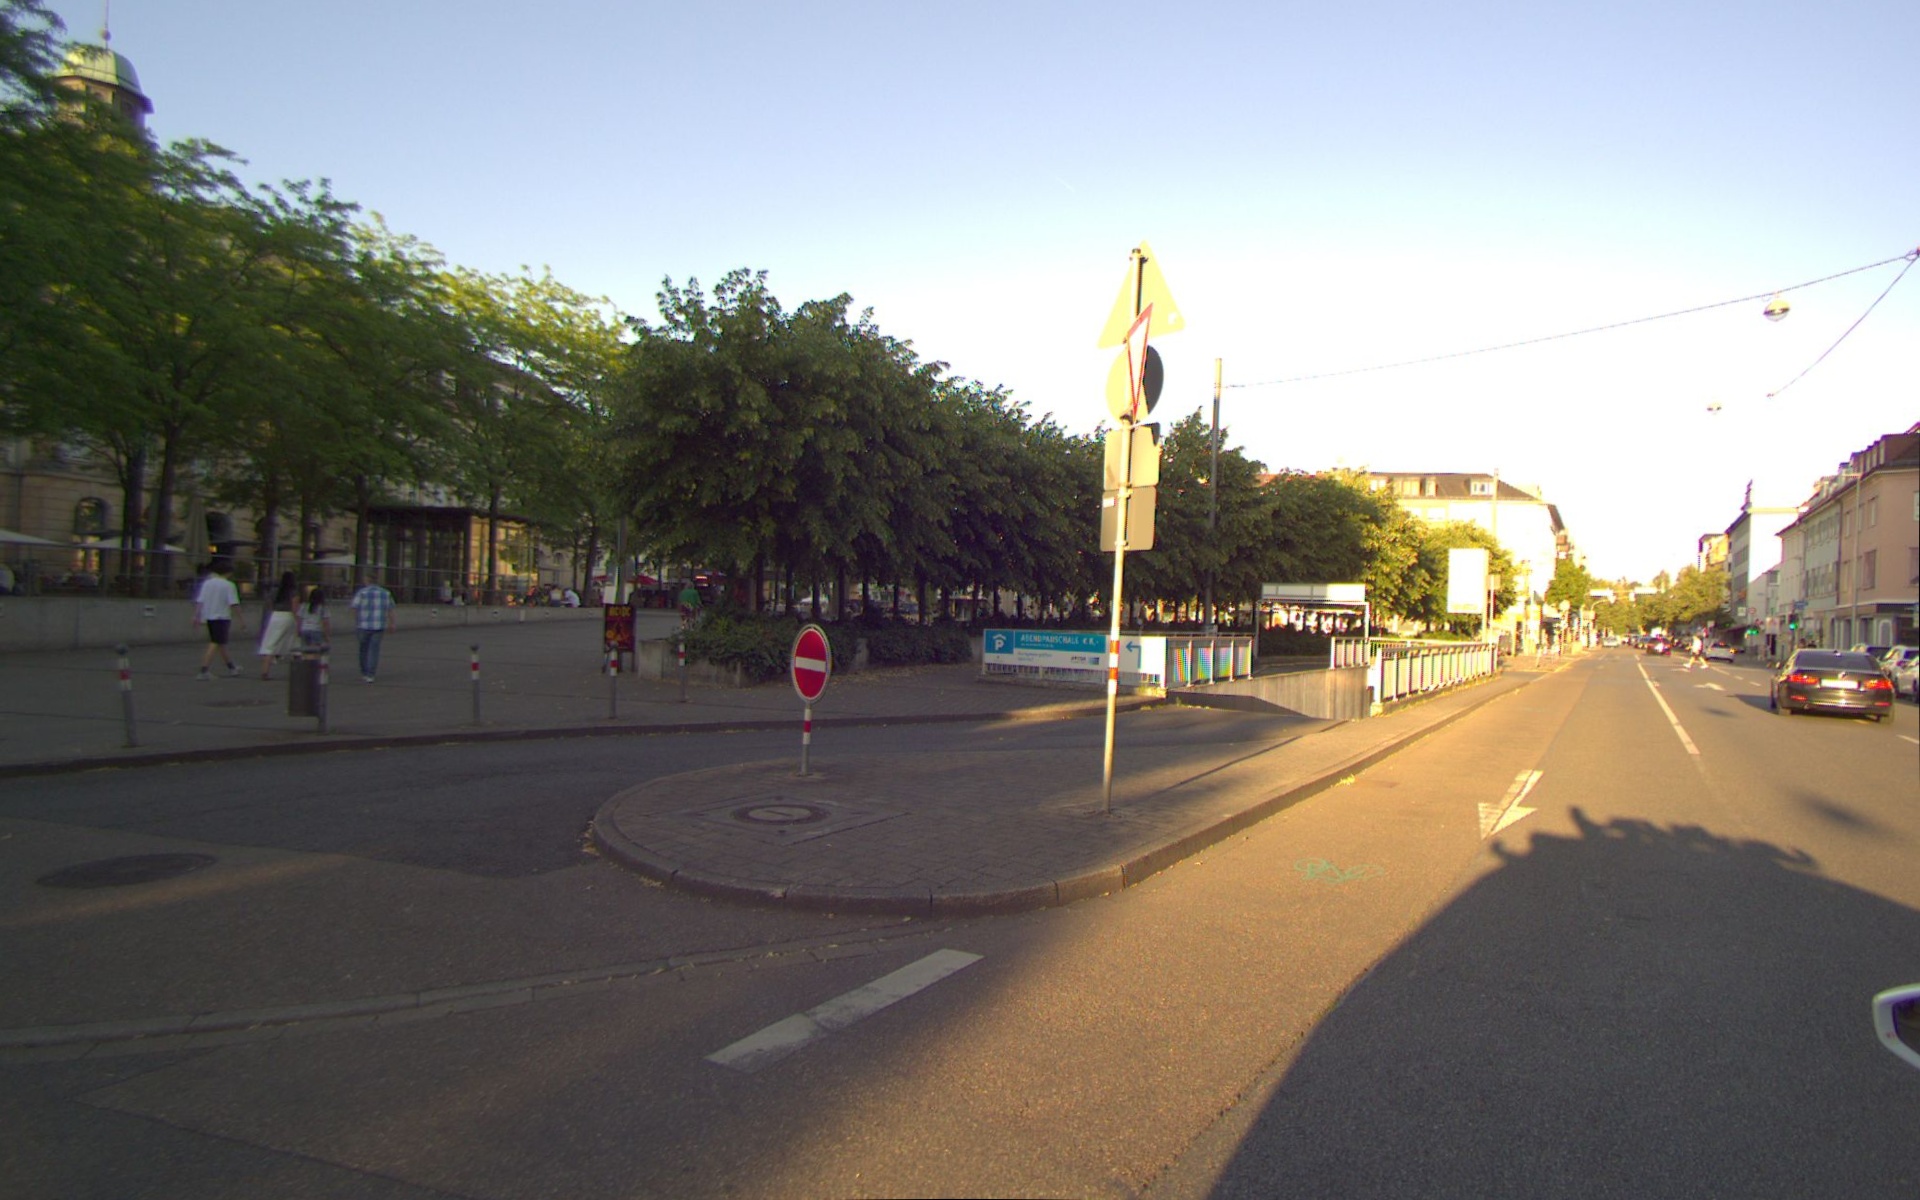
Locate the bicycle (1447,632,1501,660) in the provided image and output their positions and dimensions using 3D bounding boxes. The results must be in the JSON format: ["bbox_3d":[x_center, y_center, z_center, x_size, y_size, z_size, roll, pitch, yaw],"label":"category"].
[{"bbox_3d":[26.887,2.402,52.589,2.396,1.253,0.516,4,1,32],"label":"bicycle"}]

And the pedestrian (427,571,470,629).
[{"bbox_3d":[-15.843,-0.007,31.122,0.902,1.750,0.703,2,0,8],"label":"pedestrian"}]

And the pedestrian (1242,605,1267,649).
[{"bbox_3d":[13.523,1.234,46.161,0.725,1.974,0.794,2,0,-43],"label":"pedestrian"}]

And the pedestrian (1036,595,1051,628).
[{"bbox_3d":[5.196,0.717,62.775,0.717,1.974,0.804,2,0,-6],"label":"pedestrian"}]

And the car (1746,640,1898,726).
[{"bbox_3d":[18.159,1.671,21.370,1.862,1.511,4.193,3,0,33],"label":"car"}]

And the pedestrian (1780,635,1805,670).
[{"bbox_3d":[43.287,2.725,52.213,0.782,1.743,0.811,3,0,27],"label":"pedestrian"}]

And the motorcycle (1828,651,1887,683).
[{"bbox_3d":[38.520,2.882,43.148,1.786,1.280,0.714,1,-1,31],"label":"motorcycle"}]

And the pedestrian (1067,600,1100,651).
[{"bbox_3d":[5.055,1.035,41.114,0.909,2.040,0.906,2,0,-34],"label":"pedestrian"}]

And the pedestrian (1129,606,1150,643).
[{"bbox_3d":[9.941,1.354,55.641,0.793,1.974,0.727,2,0,41],"label":"pedestrian"}]

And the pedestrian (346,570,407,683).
[{"bbox_3d":[-9.373,0.420,16.151,0.705,1.769,0.684,1,1,-20],"label":"pedestrian"}]

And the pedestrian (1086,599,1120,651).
[{"bbox_3d":[5.824,1.025,40.929,0.909,2.040,0.906,2,0,-34],"label":"pedestrian"}]

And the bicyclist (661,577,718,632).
[{"bbox_3d":[-7.775,0.122,28.910,1.354,1.529,0.753,2,0,15],"label":"bicyclist"}]

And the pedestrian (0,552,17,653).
[{"bbox_3d":[-18.073,0.029,18.311,1.100,1.843,0.703,2,0,8],"label":"pedestrian"}]

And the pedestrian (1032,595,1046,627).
[{"bbox_3d":[4.949,0.707,62.736,0.788,1.974,0.688,2,0,4],"label":"pedestrian"}]

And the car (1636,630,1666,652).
[{"bbox_3d":[59.533,3.518,86.588,1.966,1.773,3.989,2,0,33],"label":"car"}]

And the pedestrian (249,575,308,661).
[{"bbox_3d":[-12.701,0.325,18.733,0.666,1.563,0.593,2,1,6],"label":"pedestrian"}]

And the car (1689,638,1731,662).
[{"bbox_3d":[58.040,3.824,77.755,2.302,1.625,3.883,2,0,34],"label":"car"}]

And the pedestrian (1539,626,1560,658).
[{"bbox_3d":[33.786,2.410,57.592,0.867,1.743,0.715,3,0,22],"label":"pedestrian"}]

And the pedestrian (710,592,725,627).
[{"bbox_3d":[-13.822,0.556,57.227,0.717,1.974,0.803,2,0,-10],"label":"pedestrian"}]

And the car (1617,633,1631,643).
[{"bbox_3d":[119.351,6.793,180.616,1.967,1.773,3.988,3,0,35],"label":"car"}]

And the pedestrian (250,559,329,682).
[{"bbox_3d":[-10.698,0.310,16.033,0.766,1.900,0.714,2,1,19],"label":"pedestrian"}]

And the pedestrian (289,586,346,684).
[{"bbox_3d":[-10.110,0.540,15.828,0.594,1.506,0.713,1,1,-20],"label":"pedestrian"}]

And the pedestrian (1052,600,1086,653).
[{"bbox_3d":[4.340,1.051,39.934,0.909,2.040,0.906,2,0,-34],"label":"pedestrian"}]

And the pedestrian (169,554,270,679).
[{"bbox_3d":[-11.533,0.245,15.676,0.968,1.878,0.888,1,1,-12],"label":"pedestrian"}]

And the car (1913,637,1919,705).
[{"bbox_3d":[25.217,1.888,24.603,1.856,1.768,4.646,2,1,33],"label":"car"}]

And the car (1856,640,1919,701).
[{"bbox_3d":[32.039,2.347,34.005,1.842,1.786,4.396,2,1,33],"label":"car"}]

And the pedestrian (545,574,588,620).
[{"bbox_3d":[-14.703,-0.114,37.569,1.242,1.669,0.709,2,0,7],"label":"pedestrian"}]

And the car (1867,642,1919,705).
[{"bbox_3d":[28.359,2.139,29.372,1.988,1.564,4.855,2,1,34],"label":"car"}]

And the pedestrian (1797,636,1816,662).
[{"bbox_3d":[59.368,3.418,70.462,0.746,1.800,1.047,3,0,29],"label":"pedestrian"}]

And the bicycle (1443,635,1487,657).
[{"bbox_3d":[27.132,2.439,53.952,2.014,0.984,0.634,5,1,32],"label":"bicycle"}]

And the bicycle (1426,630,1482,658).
[{"bbox_3d":[25.424,2.246,51.765,0.808,1.301,2.486,2,0,-35],"label":"bicycle"}]

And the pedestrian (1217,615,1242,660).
[{"bbox_3d":[12.050,1.669,44.919,0.725,1.974,0.794,2,0,-43],"label":"pedestrian"}]

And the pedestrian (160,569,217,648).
[{"bbox_3d":[-17.503,0.190,22.793,0.787,1.750,0.623,2,0,8],"label":"pedestrian"}]

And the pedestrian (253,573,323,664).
[{"bbox_3d":[-12.191,0.333,18.231,0.784,1.603,0.730,1,1,-5],"label":"pedestrian"}]

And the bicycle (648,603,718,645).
[{"bbox_3d":[-7.856,0.680,28.609,0.932,1.116,2.330,2,0,12],"label":"bicycle"}]

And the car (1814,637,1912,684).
[{"bbox_3d":[35.014,2.291,39.094,1.965,1.634,4.792,2,-1,32],"label":"car"}]

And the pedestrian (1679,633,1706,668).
[{"bbox_3d":[38.084,2.627,52.233,0.854,1.743,0.760,3,0,9],"label":"pedestrian"}]

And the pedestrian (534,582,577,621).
[{"bbox_3d":[-14.831,0.053,36.830,1.242,1.398,0.738,2,0,6],"label":"pedestrian"}]

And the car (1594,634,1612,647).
[{"bbox_3d":[88.949,5.556,138.952,1.868,1.617,3.988,3,0,35],"label":"car"}]

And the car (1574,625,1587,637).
[{"bbox_3d":[118.061,5.873,191.180,1.803,2.040,3.664,3,0,35],"label":"car"}]
